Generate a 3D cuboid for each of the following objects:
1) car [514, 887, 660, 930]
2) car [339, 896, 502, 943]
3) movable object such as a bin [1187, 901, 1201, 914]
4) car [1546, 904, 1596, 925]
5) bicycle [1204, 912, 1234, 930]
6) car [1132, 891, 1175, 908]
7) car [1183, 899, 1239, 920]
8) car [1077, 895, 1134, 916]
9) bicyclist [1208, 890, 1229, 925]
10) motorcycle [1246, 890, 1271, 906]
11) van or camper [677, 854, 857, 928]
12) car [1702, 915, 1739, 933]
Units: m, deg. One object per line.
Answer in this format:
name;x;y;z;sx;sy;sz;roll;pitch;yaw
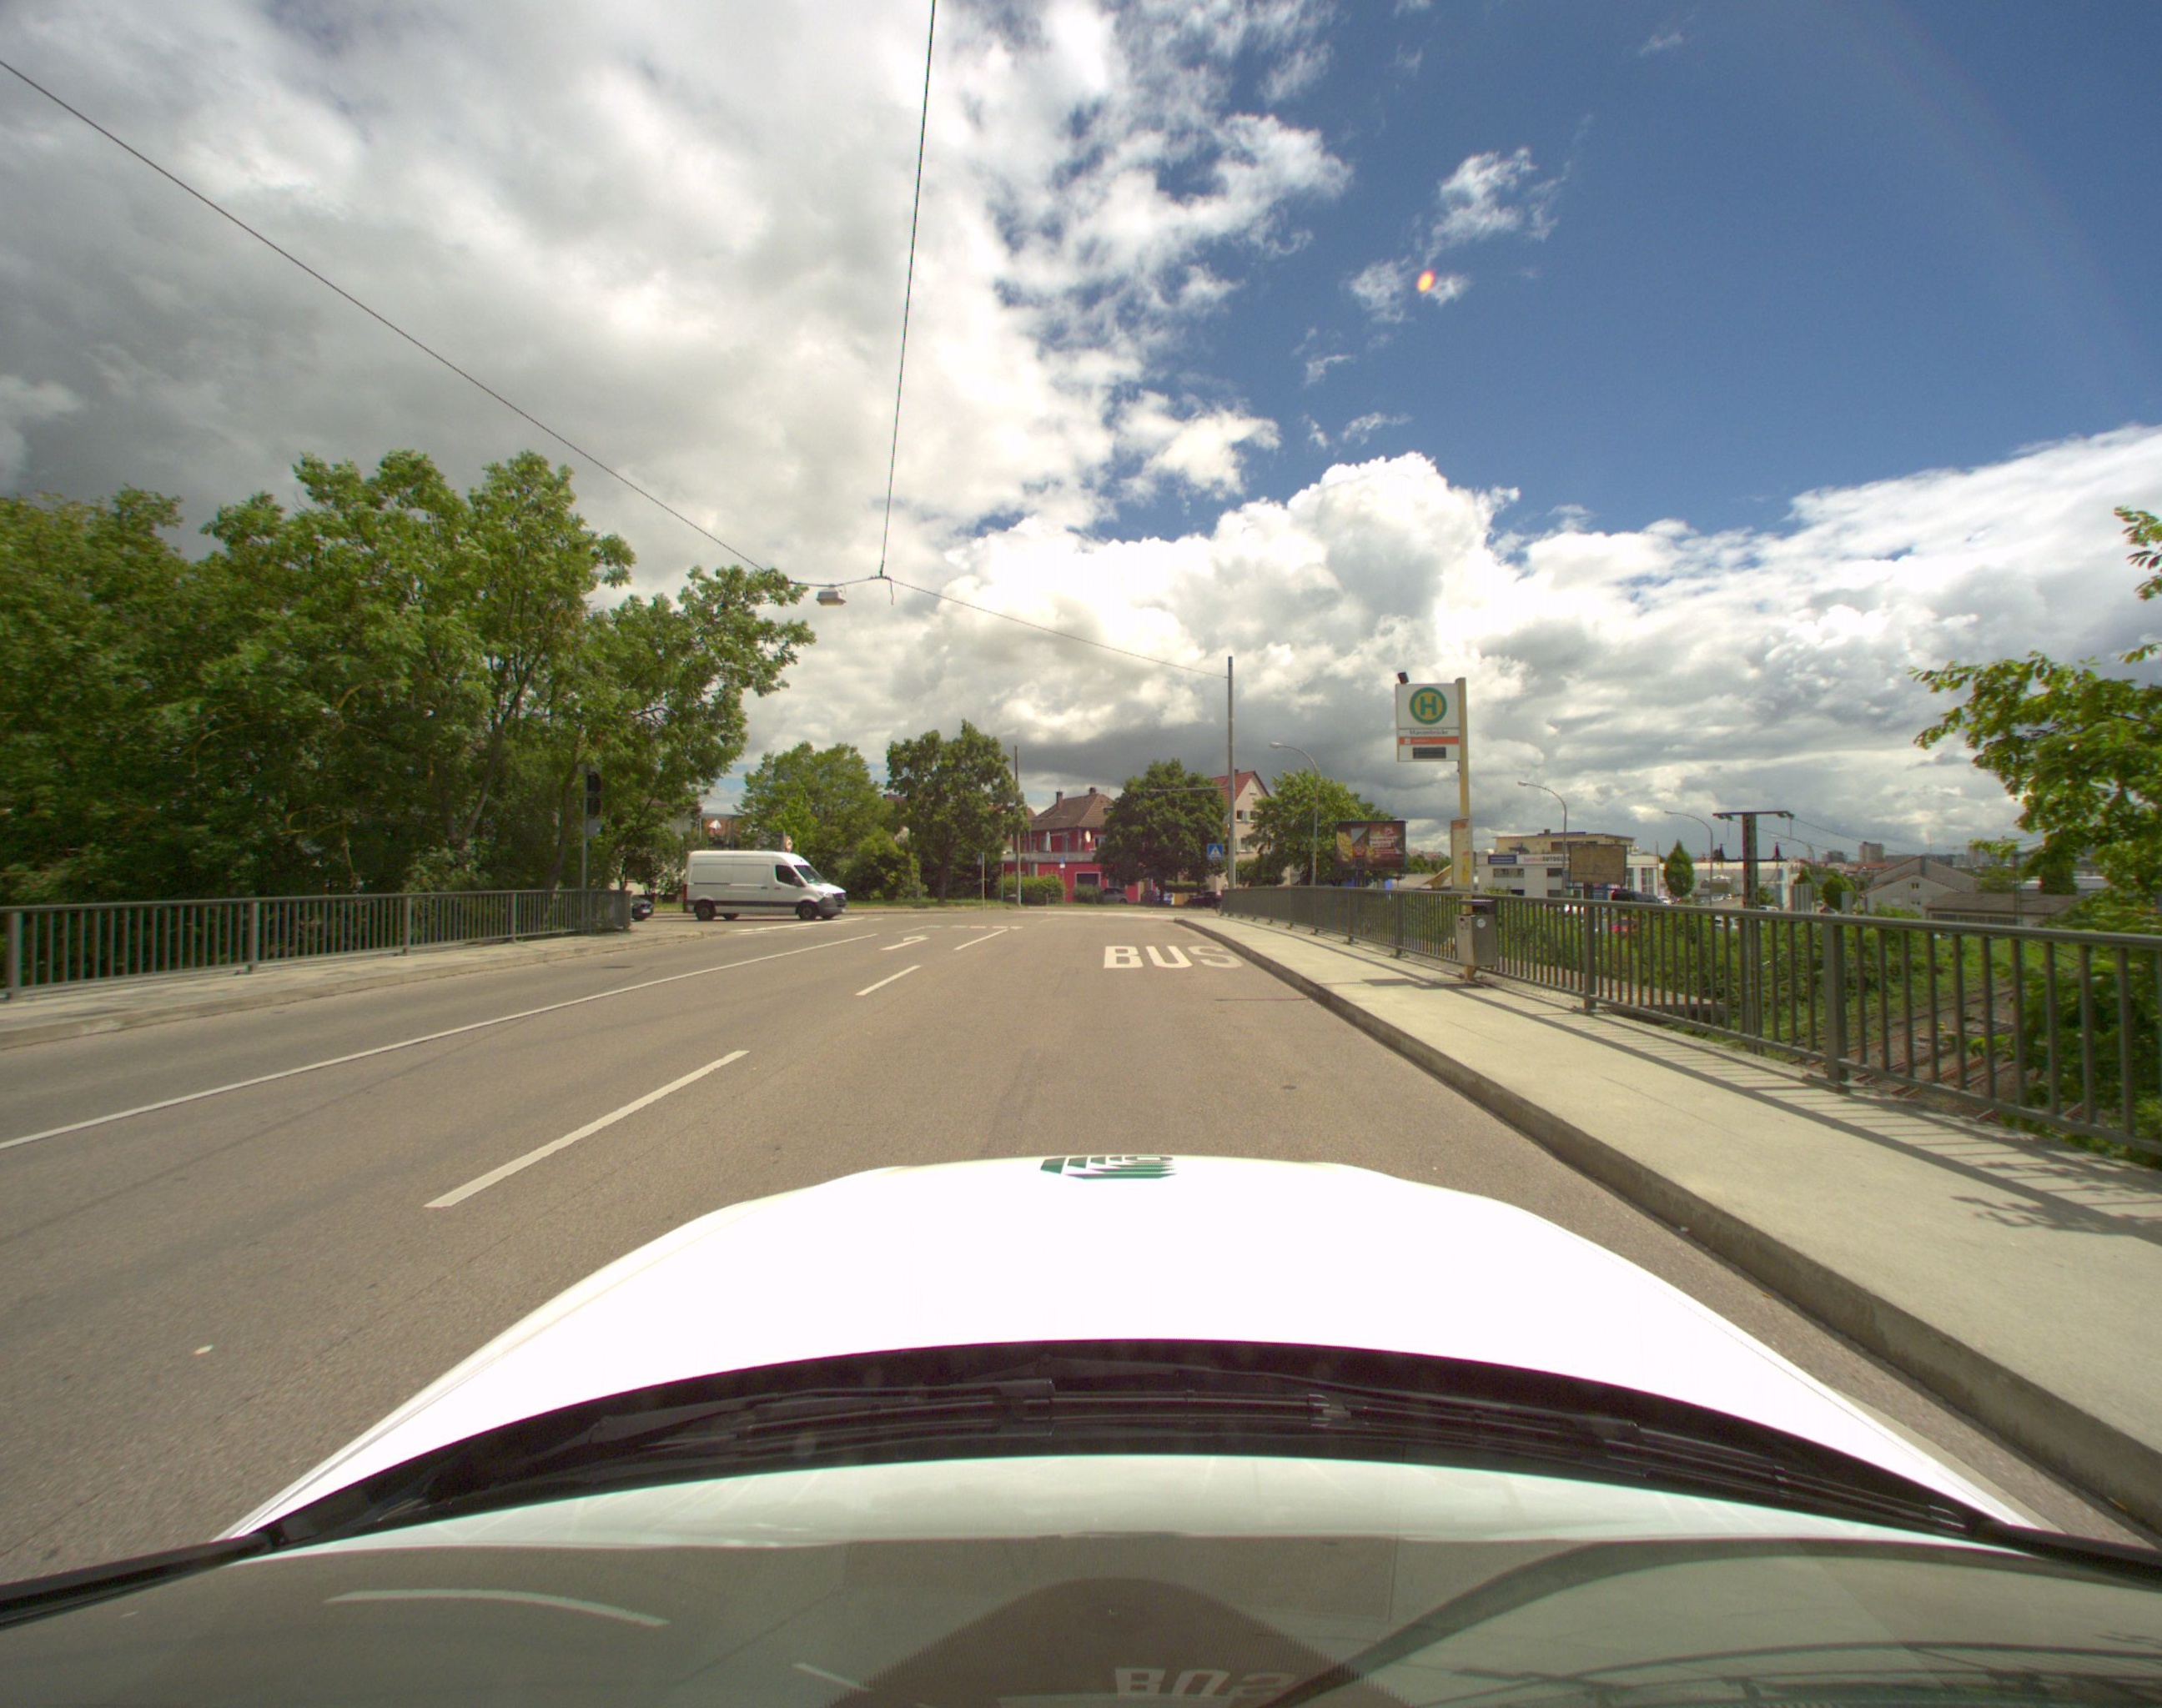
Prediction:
car;-18.334;2.024;30.375;4.198;1.474;2.001;-1;-2;3
car;-24.571;2.413;30.436;4.375;1.588;1.998;-1;-2;-2
movable object such as a bin;9.696;4.589;69.829;0.882;1.062;0.751;4;-3;-26
car;37.520;4.654;62.302;3.970;1.480;1.694;4;-3;-32
bicycle;7.388;3.588;43.563;0.681;0.879;2.114;-3;-7;38
car;6.103;3.837;68.790;1.848;1.378;3.777;3;-4;-30
car;9.683;4.129;60.843;2.005;1.394;4.104;3;-3;-30
car;1.893;3.958;62.378;4.090;1.426;1.629;3;-3;-31
bicyclist;7.373;2.899;43.617;0.678;1.826;1.087;-4;-7;40
motorcycle;16.114;3.991;73.904;2.243;1.316;0.911;4;-3;-32
van or camper;-11.689;1.414;30.622;5.883;2.568;2.195;-1;-4;3
car;59.296;6.493;75.498;2.916;1.507;1.780;5;-7;-33
